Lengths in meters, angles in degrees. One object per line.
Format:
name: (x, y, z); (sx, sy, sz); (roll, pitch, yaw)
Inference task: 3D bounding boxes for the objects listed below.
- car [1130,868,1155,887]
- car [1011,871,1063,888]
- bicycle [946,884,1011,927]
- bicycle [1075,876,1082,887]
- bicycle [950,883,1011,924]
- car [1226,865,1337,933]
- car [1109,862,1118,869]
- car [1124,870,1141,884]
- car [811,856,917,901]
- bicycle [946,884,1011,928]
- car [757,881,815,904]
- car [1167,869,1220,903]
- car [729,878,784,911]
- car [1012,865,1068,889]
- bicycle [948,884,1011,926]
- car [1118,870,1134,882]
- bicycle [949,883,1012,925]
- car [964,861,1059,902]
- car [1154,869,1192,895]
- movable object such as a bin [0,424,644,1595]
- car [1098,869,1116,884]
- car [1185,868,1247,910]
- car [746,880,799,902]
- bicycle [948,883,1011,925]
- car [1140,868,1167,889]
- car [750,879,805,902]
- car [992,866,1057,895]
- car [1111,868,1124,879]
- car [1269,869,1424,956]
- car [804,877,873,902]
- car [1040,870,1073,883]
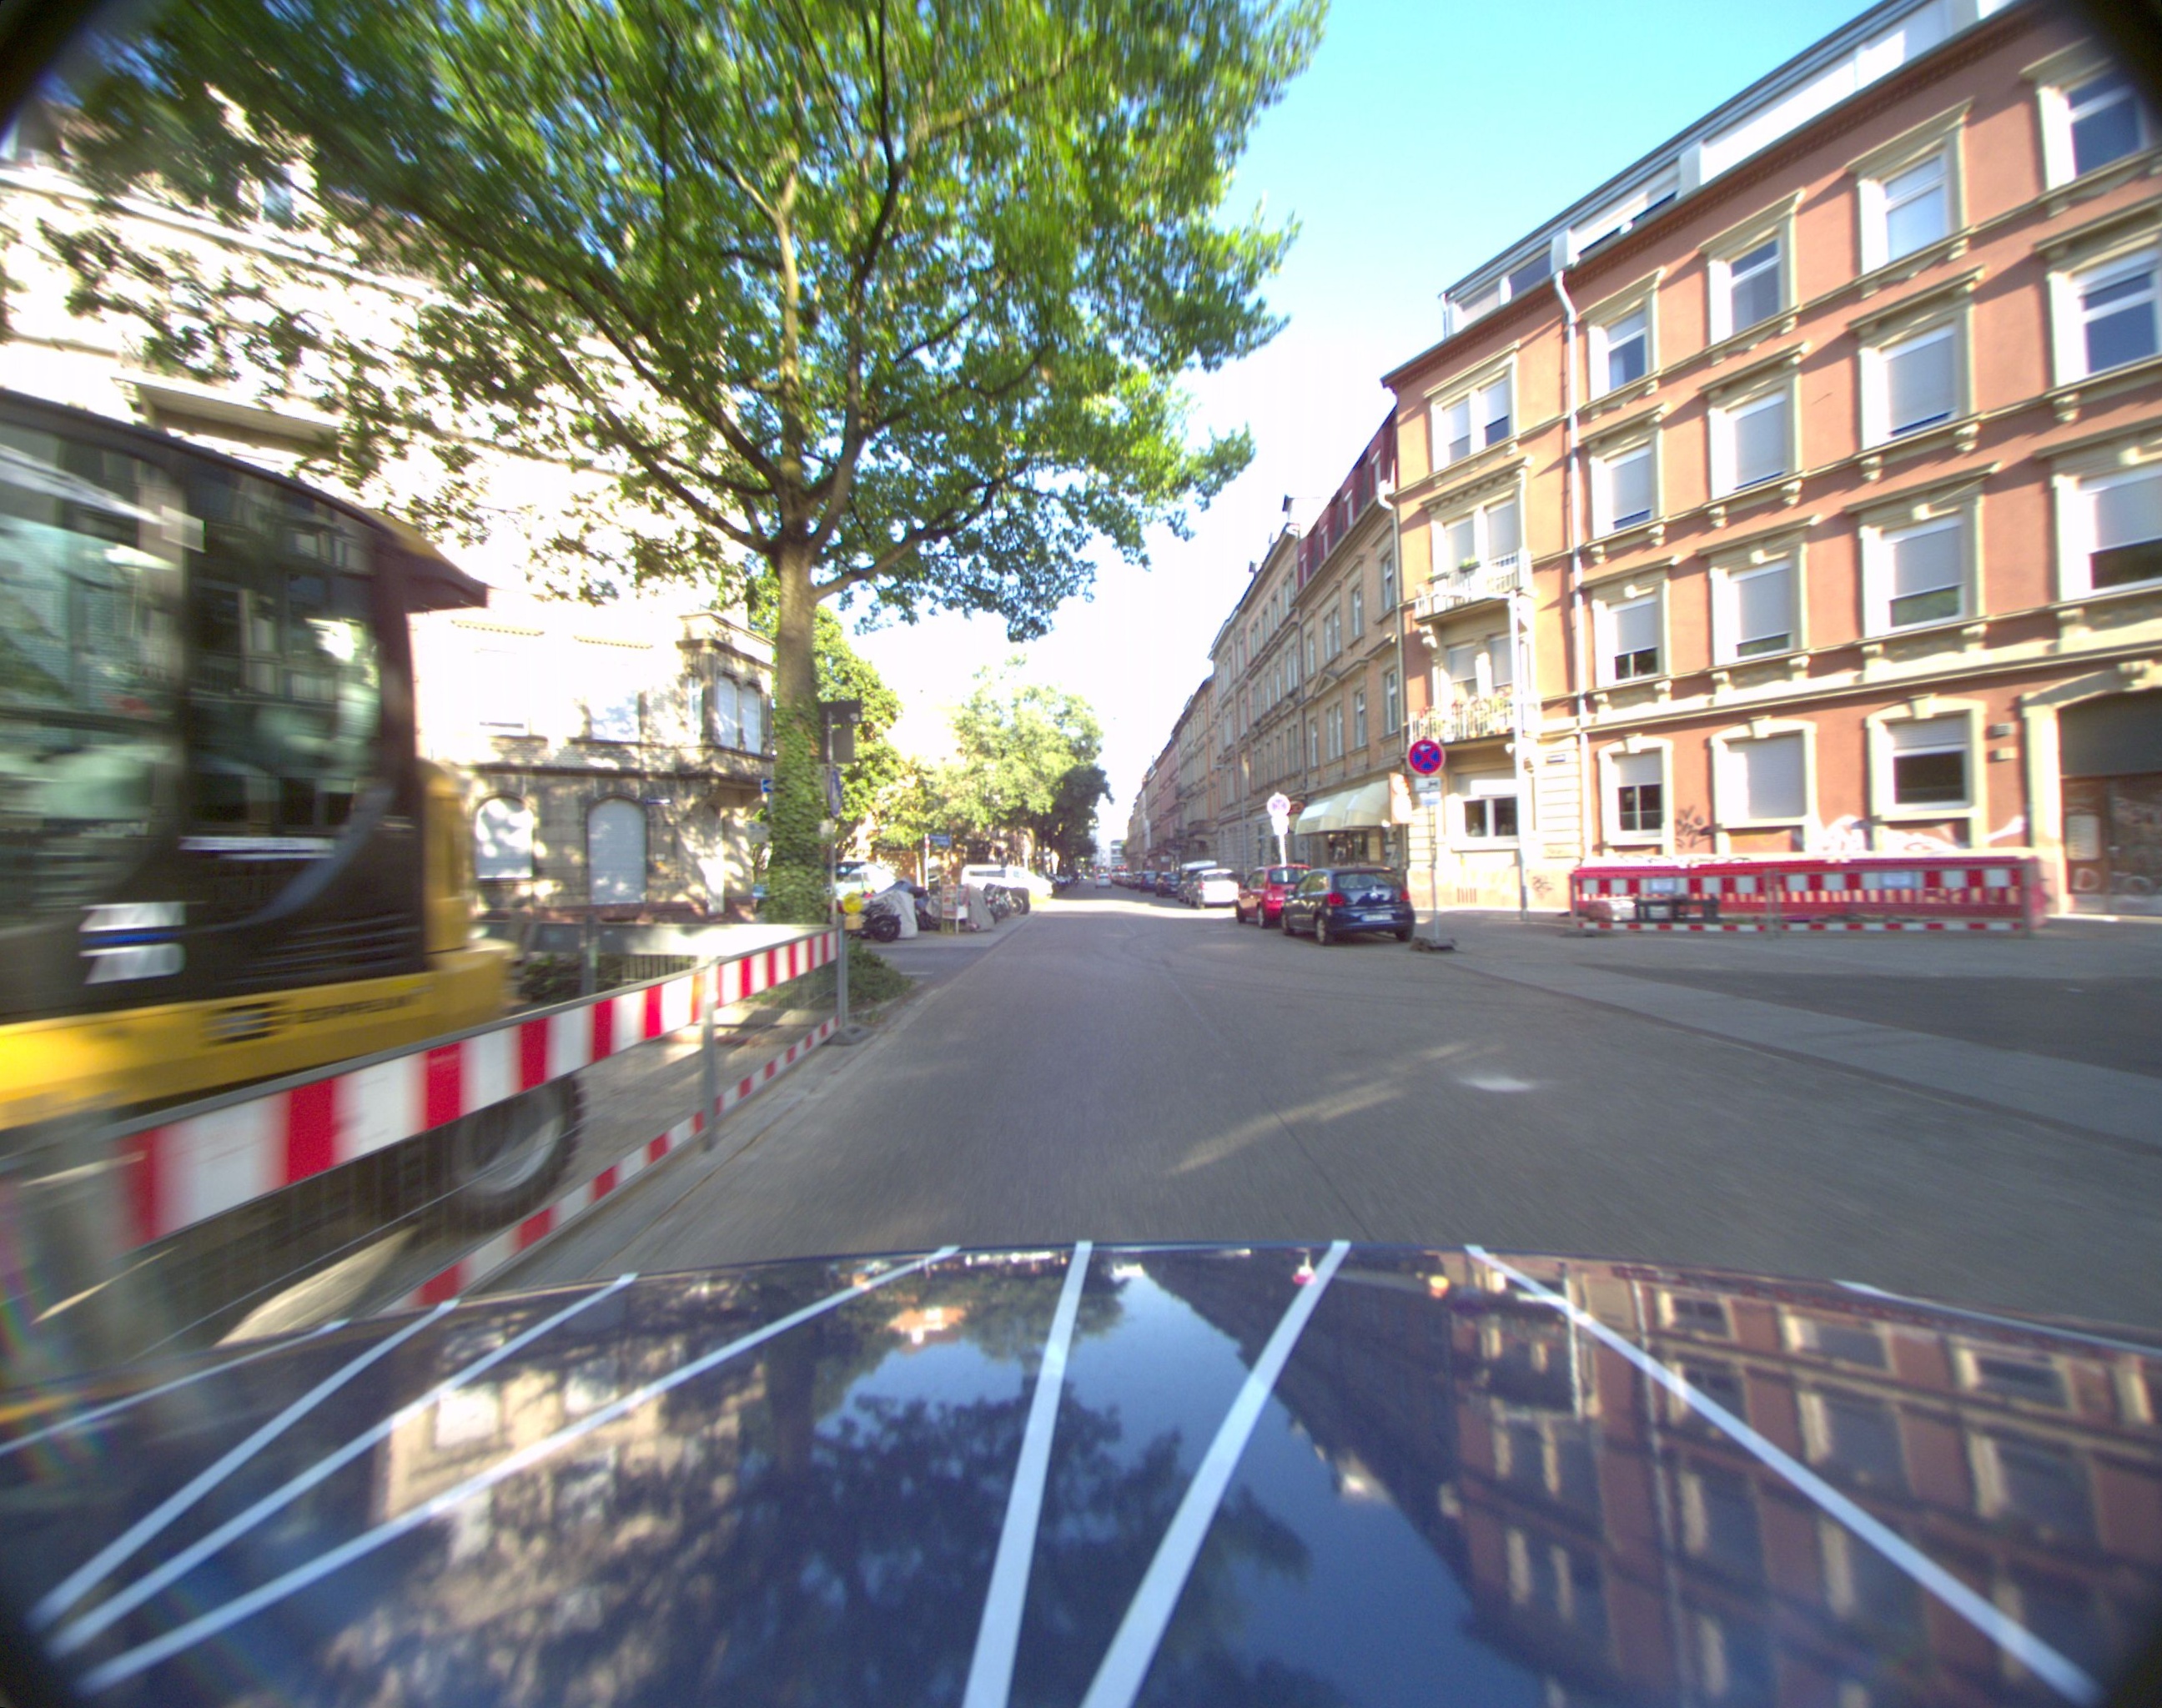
car: (5.654, 2.147, 70.595); (1.652, 1.564, 4.049); (-4, -1, -4)
car: (-3.884, 2.256, 67.562); (4.380, 1.447, 1.934); (-1, -1, 1)
bicycle: (-3.172, 1.602, 23.573); (1.930, 1.238, 0.303); (-2, -1, -5)
bicycle: (-0.259, 3.144, 87.106); (0.712, 1.252, 1.888); (-1, -1, 1)
bicycle: (-3.276, 1.603, 24.850); (1.930, 1.238, 0.303); (-2, -1, -5)
car: (5.064, 1.072, 19.733); (1.674, 1.521, 4.000); (-2, -1, -2)
car: (7.411, 2.608, 174.112); (1.868, 1.619, 3.826); (-3, -1, 2)
car: (5.829, 2.588, 86.038); (1.709, 1.430, 3.960); (-1, -1, 1)
car: (-13.396, 1.530, 47.289); (5.912, 2.522, 2.379); (-2, -1, -5)
bicycle: (-3.123, 1.585, 23.231); (1.930, 1.238, 0.303); (-2, -1, -5)
car: (-22.881, 2.991, 59.083); (4.002, 1.555, 1.780); (-3, -1, -14)
car: (5.148, 1.443, 35.283); (1.769, 1.428, 4.301); (-2, -1, -1)
car: (-17.271, 2.123, 40.341); (1.784, 1.601, 4.208); (-1, -1, -35)
car: (-3.900, 2.189, 72.791); (5.104, 1.929, 2.157); (-2, 2, 1)
bicycle: (-3.177, 1.604, 23.903); (1.911, 1.238, 0.303); (-2, -1, -5)
car: (6.038, 2.971, 102.167); (1.825, 1.417, 4.315); (-3, -1, 1)
bicycle: (-3.230, 1.603, 24.504); (1.930, 1.238, 0.303); (-2, -1, -5)
car: (-3.816, 1.519, 42.266); (4.986, 2.083, 2.106); (-2, -1, 1)
car: (5.428, 1.631, 45.117); (1.708, 1.445, 4.020); (-2, -1, -1)
movable object such as a bin: (-3.396, 0.373, 2.213); (1.996, 2.683, 3.114); (-2, 0, 14)
car: (2.762, 2.416, 81.539); (1.753, 1.500, 4.001); (-2, -1, 1)
car: (5.218, 1.321, 29.909); (1.729, 1.428, 3.997); (-4, -1, 1)
car: (-27.377, 3.234, 67.594); (4.001, 1.710, 1.780); (-3, -1, -11)
bicycle: (-3.222, 1.600, 24.267); (1.930, 1.238, 0.303); (-2, -1, -5)
car: (5.646, 1.908, 59.403); (1.746, 1.557, 3.896); (-2, -1, 1)
car: (-25.983, 3.139, 65.189); (4.001, 1.710, 1.780); (-3, -1, -11)
car: (-4.058, 1.914, 55.214); (4.627, 2.001, 2.000); (-1, -1, -2)
car: (6.510, 3.433, 135.706); (1.847, 1.822, 4.607); (-3, -1, 0)
car: (5.136, 1.062, 15.279); (1.673, 1.449, 4.000); (-2, -1, 0)
car: (-16.472, 2.386, 51.813); (4.066, 1.501, 1.863); (-2, -1, -3)
car: (-3.427, 3.180, 107.417); (4.487, 1.646, 1.891); (-2, 0, 0)
